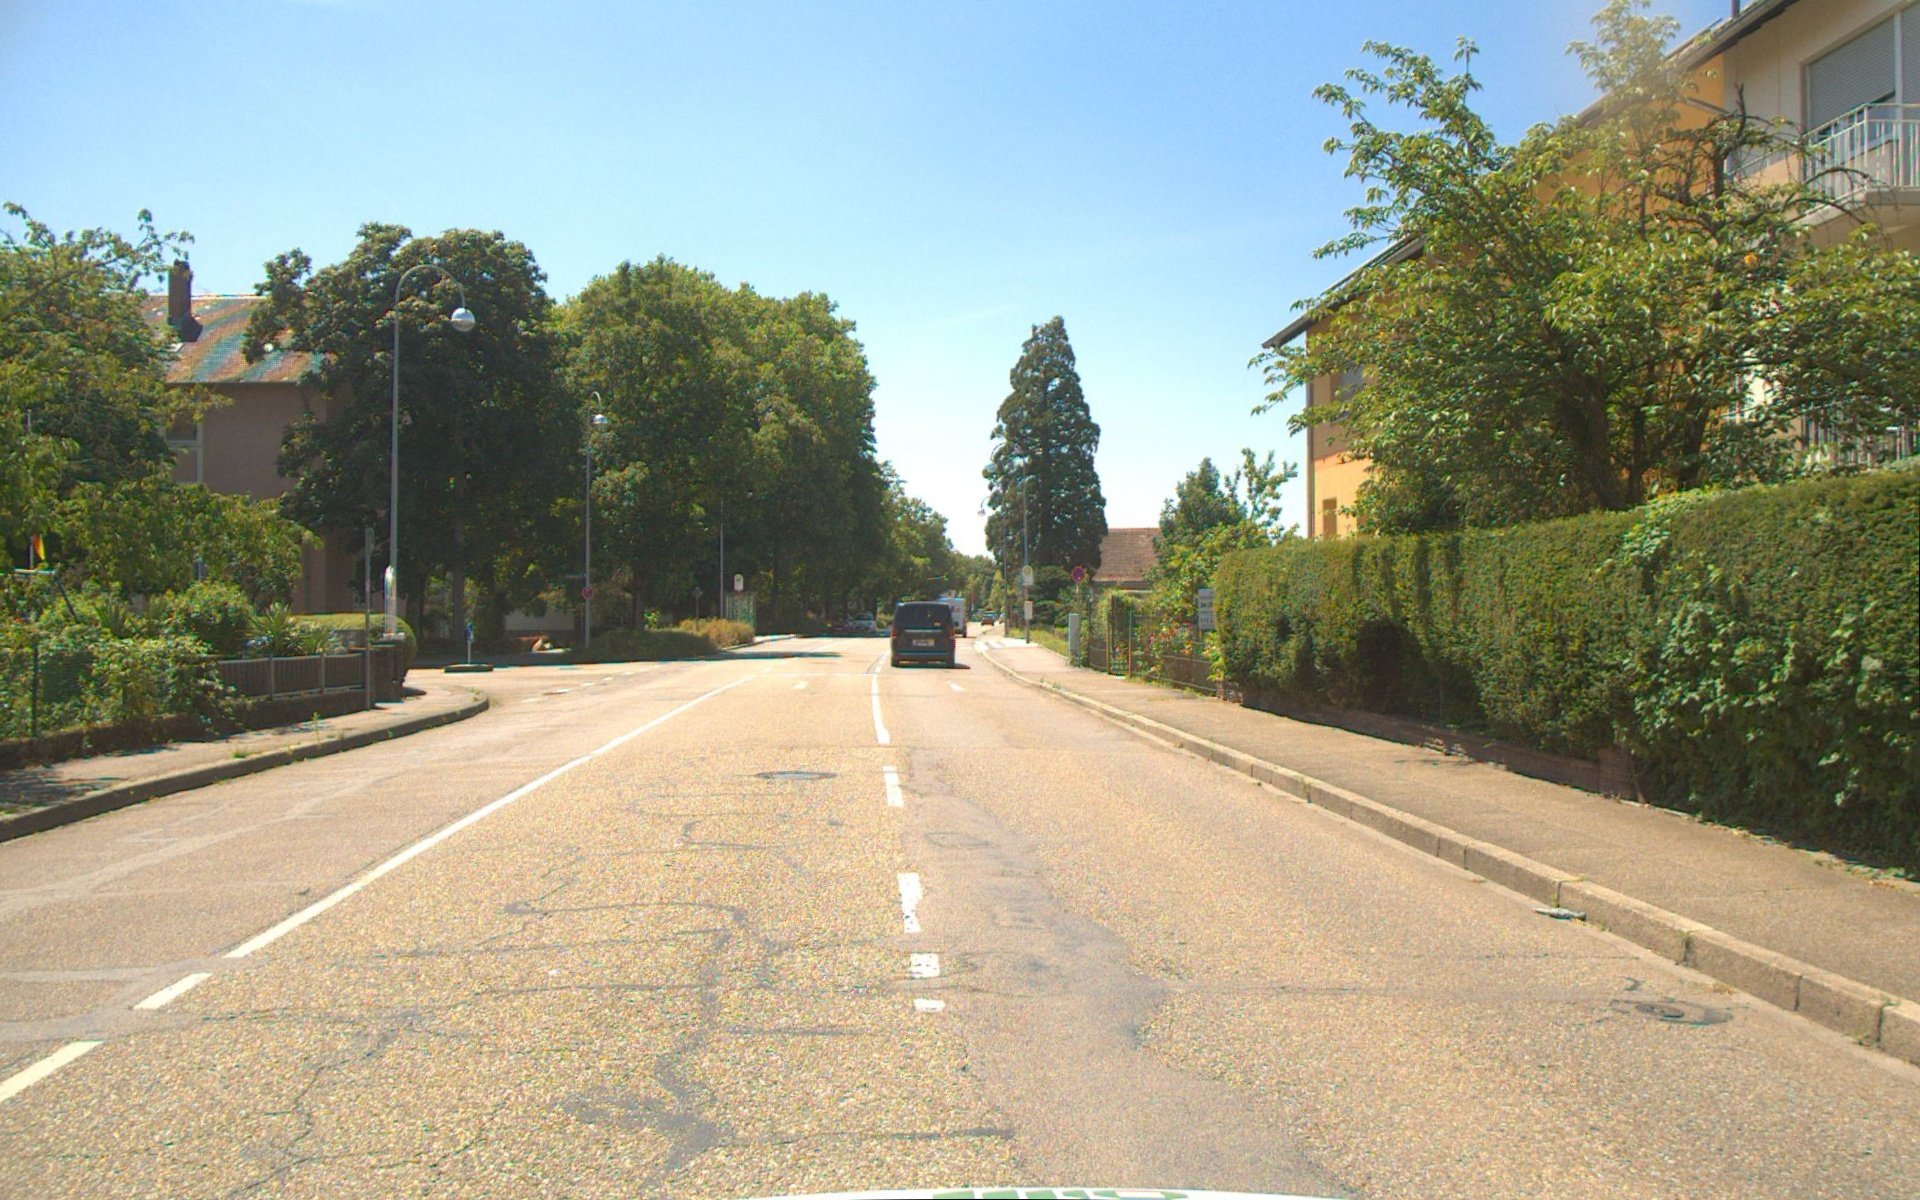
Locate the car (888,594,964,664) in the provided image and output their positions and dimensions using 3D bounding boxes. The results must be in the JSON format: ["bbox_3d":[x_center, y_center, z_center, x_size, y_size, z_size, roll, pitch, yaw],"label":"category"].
[{"bbox_3d":[-0.944,0.797,48.133,1.952,1.926,4.001,1,0,2],"label":"car"}]

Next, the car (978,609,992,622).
[{"bbox_3d":[3.435,2.172,227.102,1.820,1.671,3.999,1,0,-2],"label":"car"}]

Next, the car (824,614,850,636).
[{"bbox_3d":[-8.434,1.713,113.865,1.519,1.476,3.690,1,-1,-1],"label":"car"}]

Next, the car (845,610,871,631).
[{"bbox_3d":[-7.465,1.491,121.137,1.656,1.485,3.640,1,0,1],"label":"car"}]

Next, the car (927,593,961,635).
[{"bbox_3d":[-1.041,0.936,112.933,2.076,2.724,5.663,1,0,2],"label":"car"}]
